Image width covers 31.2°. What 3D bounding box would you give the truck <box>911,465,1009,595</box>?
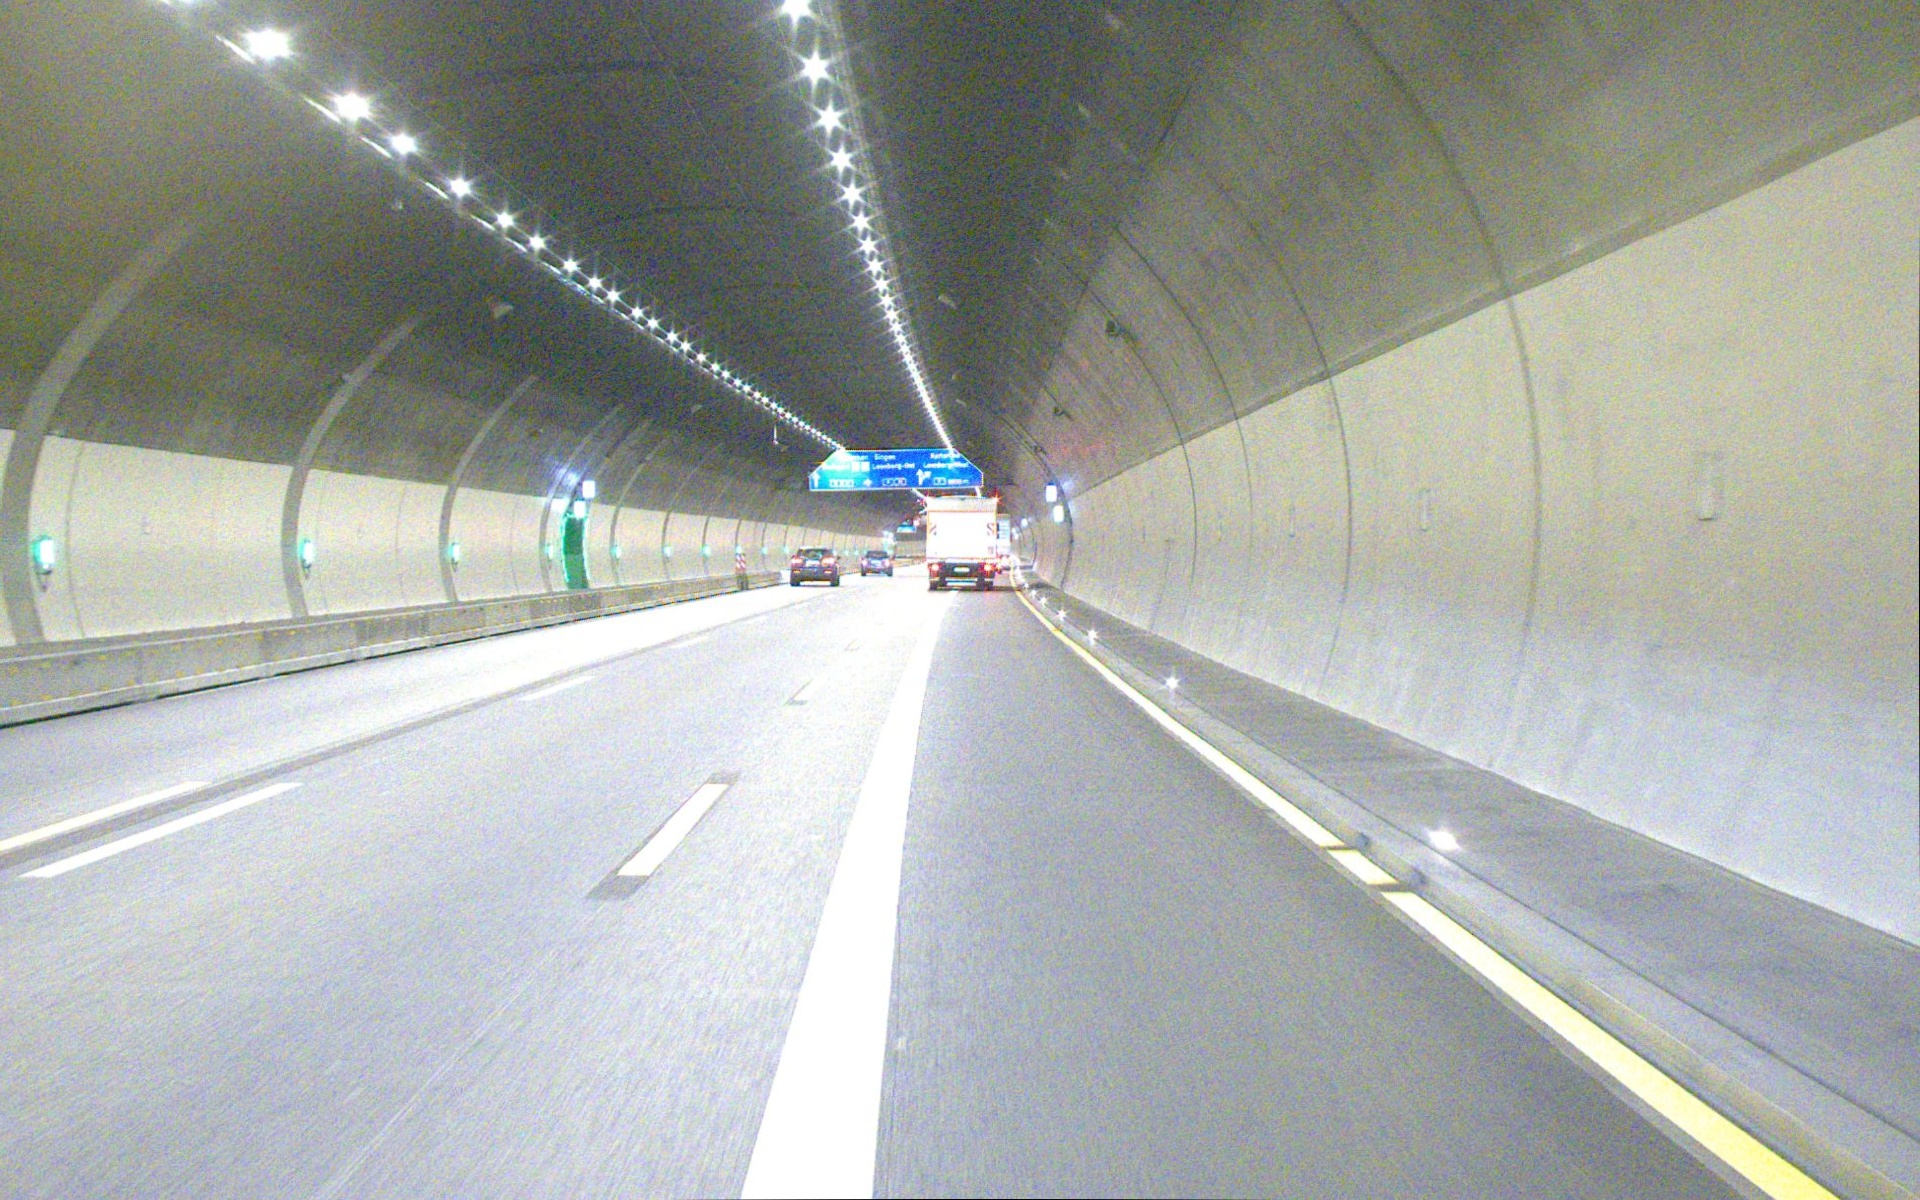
[{"bbox_3d":[-0.121,-2.680,132.585,3.278,4.634,17.288,-1,1,-1],"label":"truck"}]

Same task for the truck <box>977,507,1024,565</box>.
[{"bbox_3d":[2.899,-4.606,249.427,2.922,4.034,14.030,-1,1,-1],"label":"truck"}]

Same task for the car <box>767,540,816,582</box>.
[{"bbox_3d":[-6.625,-1.555,135.403,1.812,1.612,4.001,0,1,-2],"label":"car"}]

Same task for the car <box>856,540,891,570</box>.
[{"bbox_3d":[-4.821,-2.503,190.832,1.812,1.514,4.001,0,2,-3],"label":"car"}]
